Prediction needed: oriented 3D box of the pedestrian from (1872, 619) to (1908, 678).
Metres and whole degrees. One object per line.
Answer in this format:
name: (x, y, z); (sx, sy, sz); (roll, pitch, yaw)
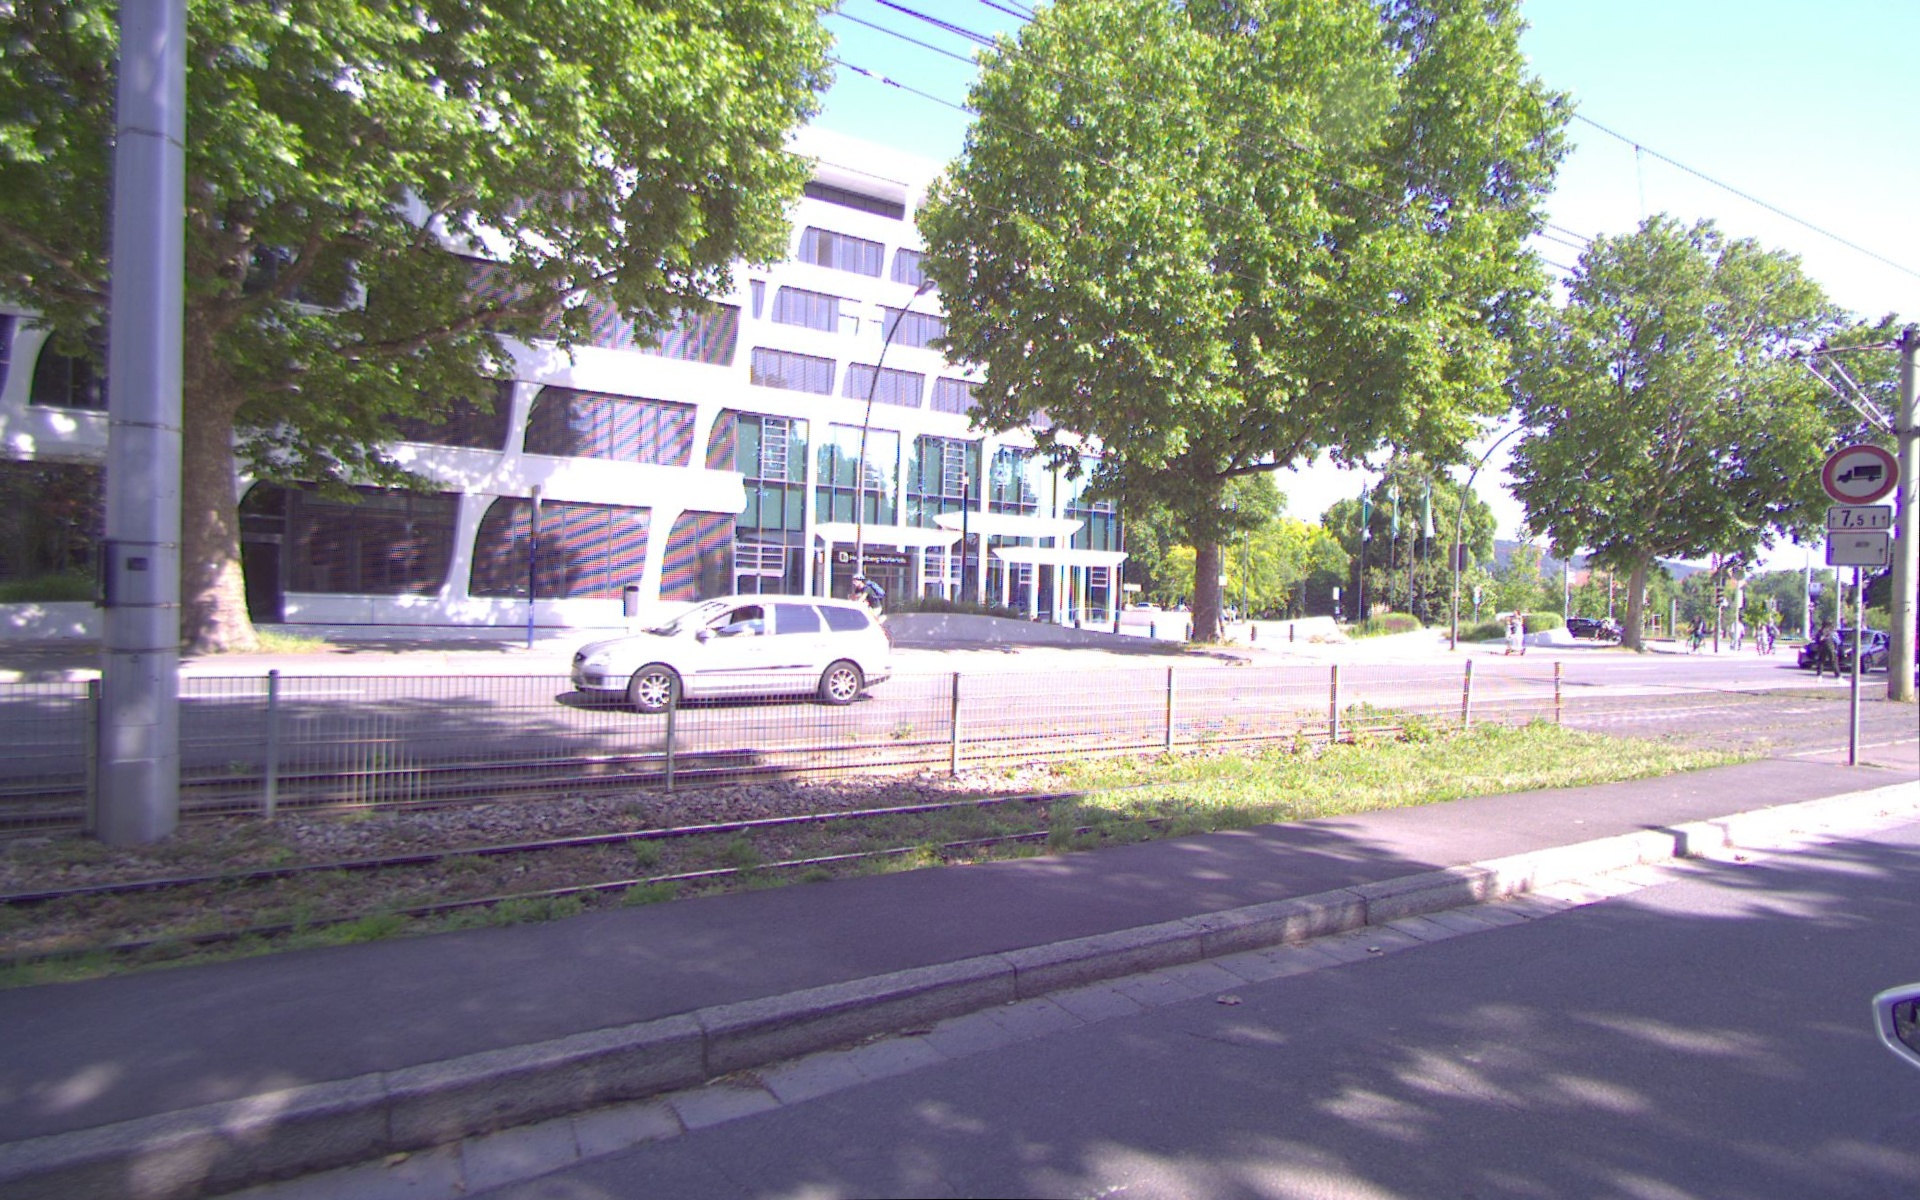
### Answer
pedestrian: (27.245, 1.419, 29.420); (0.548, 1.668, 0.590); (1, 1, -30)

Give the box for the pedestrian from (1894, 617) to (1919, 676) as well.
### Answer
pedestrian: (28.292, 1.382, 29.905); (0.636, 1.702, 0.490); (1, 1, -30)

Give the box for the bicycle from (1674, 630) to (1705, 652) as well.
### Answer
bicycle: (33.033, 1.854, 45.466); (1.635, 0.974, 0.482); (2, 0, -30)

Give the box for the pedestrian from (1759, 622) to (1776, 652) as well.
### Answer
pedestrian: (42.922, 1.958, 53.384); (0.615, 1.562, 0.779); (2, 1, 37)

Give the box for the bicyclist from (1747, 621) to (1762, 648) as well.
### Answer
bicyclist: (39.175, 1.716, 49.535); (0.460, 1.329, 0.383); (1, 1, -30)

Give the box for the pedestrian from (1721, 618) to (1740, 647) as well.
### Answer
pedestrian: (42.385, 1.786, 55.262); (0.637, 1.562, 0.619); (1, 1, -31)

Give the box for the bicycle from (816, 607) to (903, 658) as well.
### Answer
bicycle: (-2.301, 0.743, 23.125); (1.862, 1.109, 0.664); (1, 1, -30)

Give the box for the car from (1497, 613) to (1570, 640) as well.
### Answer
car: (37.765, 1.711, 66.242); (1.748, 1.569, 3.829); (2, 1, -29)

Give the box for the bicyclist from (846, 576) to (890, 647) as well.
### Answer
bicyclist: (-2.128, 0.266, 23.223); (0.829, 1.625, 0.572); (1, 1, -30)

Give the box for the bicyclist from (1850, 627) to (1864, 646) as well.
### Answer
bicyclist: (63.342, 2.551, 70.943); (0.487, 1.309, 0.475); (2, 1, -1)

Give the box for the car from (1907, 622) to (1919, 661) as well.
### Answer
car: (42.398, 1.803, 42.943); (3.815, 1.630, 1.755); (2, 1, -30)

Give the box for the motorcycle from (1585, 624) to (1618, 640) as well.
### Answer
motorcycle: (40.958, 2.040, 64.109); (0.642, 0.903, 1.636); (1, 0, -30)

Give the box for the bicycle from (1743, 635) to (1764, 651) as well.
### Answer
bicycle: (39.164, 2.125, 49.548); (1.132, 0.758, 0.418); (2, 1, -30)

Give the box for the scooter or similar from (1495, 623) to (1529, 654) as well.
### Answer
scooter or similar: (20.673, 1.432, 37.601); (1.233, 1.127, 0.545); (2, 1, -30)

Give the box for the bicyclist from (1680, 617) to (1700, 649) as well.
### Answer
bicyclist: (33.055, 1.481, 45.478); (0.585, 1.435, 0.477); (1, 1, -31)

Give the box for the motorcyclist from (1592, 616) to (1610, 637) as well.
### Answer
motorcyclist: (40.939, 1.689, 64.161); (0.597, 1.332, 0.749); (1, 1, -30)

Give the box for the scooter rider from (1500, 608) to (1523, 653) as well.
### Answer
scooter rider: (20.645, 1.153, 37.594); (0.559, 1.653, 0.504); (1, 1, -30)

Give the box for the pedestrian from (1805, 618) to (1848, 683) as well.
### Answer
pedestrian: (22.736, 1.315, 26.370); (0.747, 1.645, 0.593); (2, 1, 35)

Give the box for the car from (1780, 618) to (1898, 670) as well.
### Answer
car: (30.348, 1.499, 34.668); (3.953, 1.630, 1.862); (2, 1, -30)

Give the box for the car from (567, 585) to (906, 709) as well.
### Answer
car: (-3.106, 0.615, 14.189); (4.333, 1.508, 1.788); (2, 1, -30)
